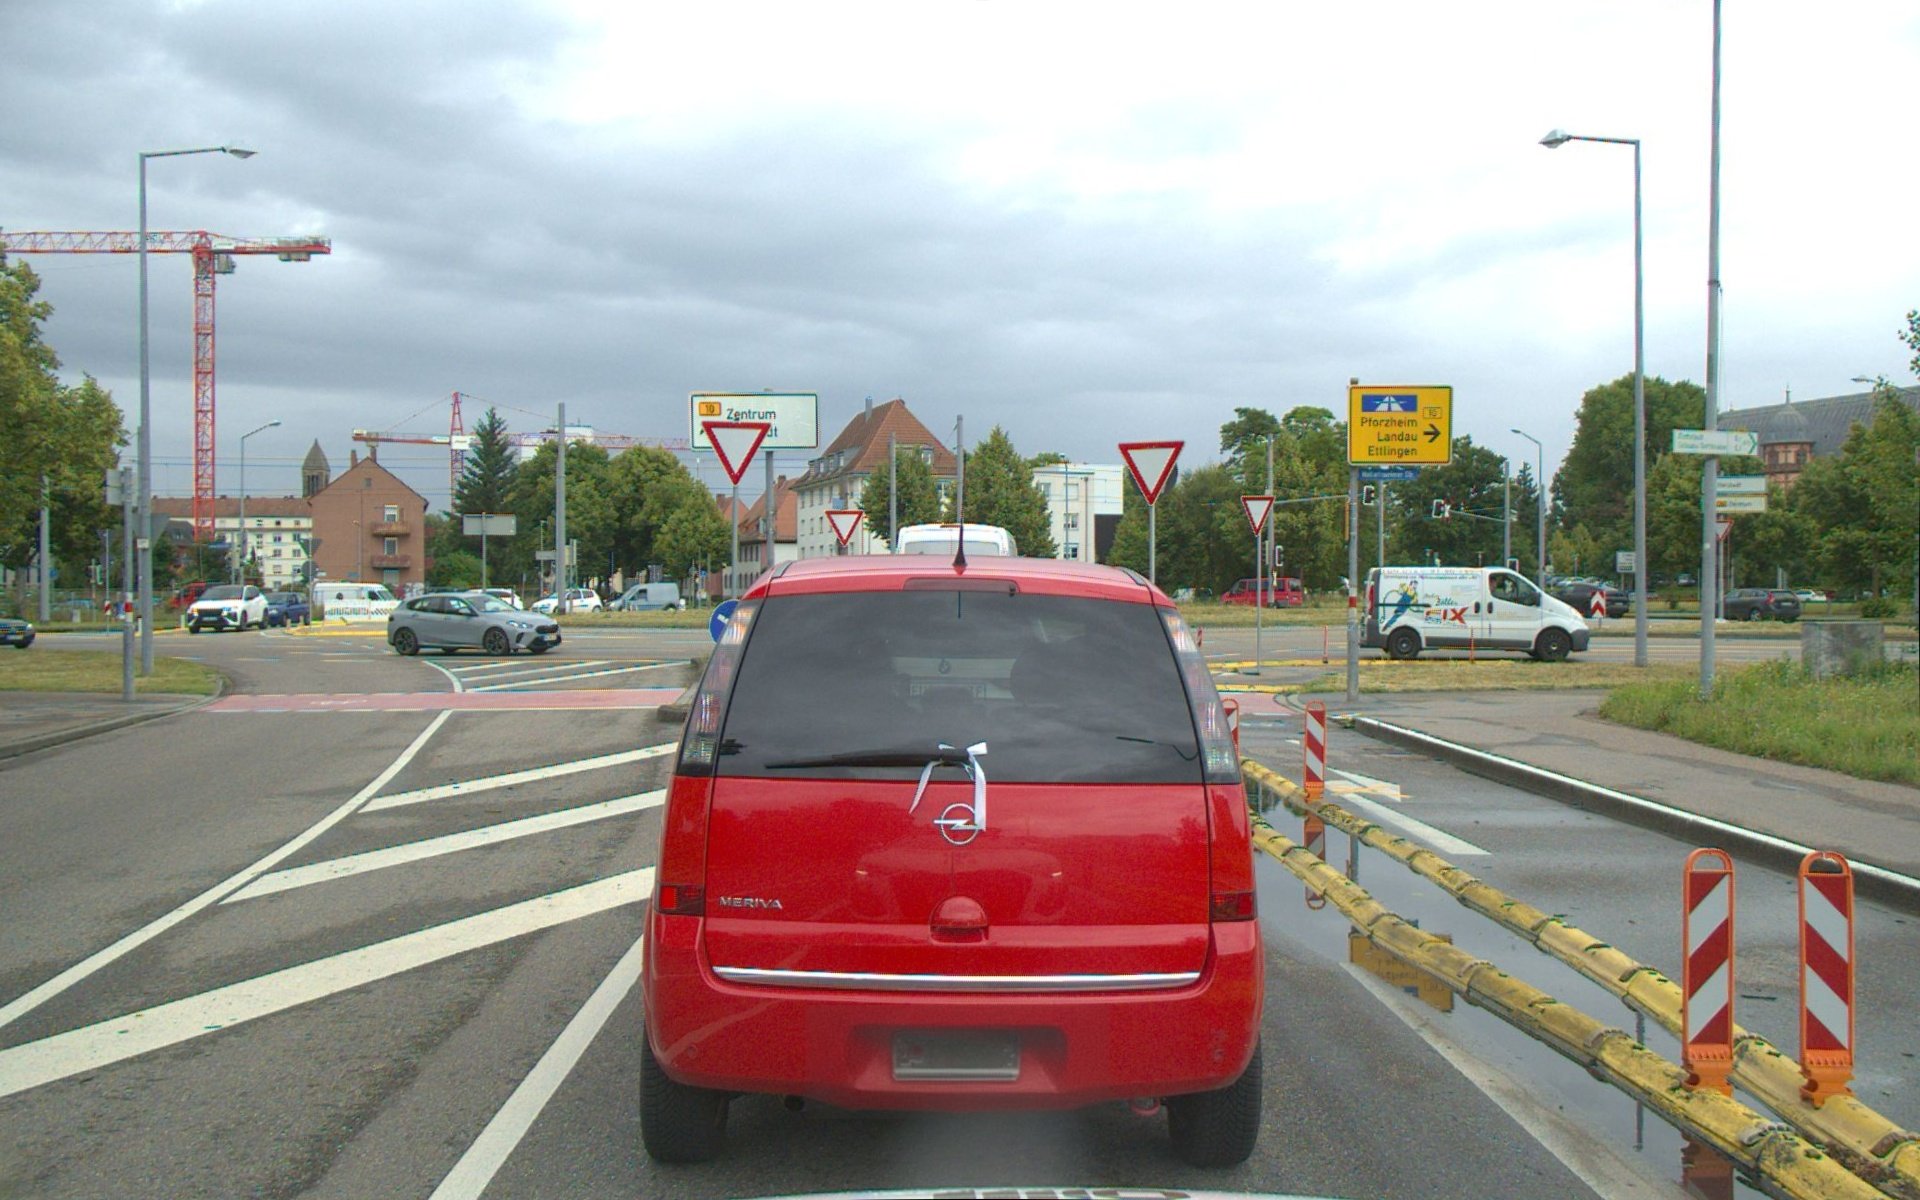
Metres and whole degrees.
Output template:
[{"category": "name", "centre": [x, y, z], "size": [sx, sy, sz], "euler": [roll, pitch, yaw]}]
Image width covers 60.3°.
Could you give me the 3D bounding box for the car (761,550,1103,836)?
[{"category": "car", "centre": [-0.201, 0.538, 12.168], "size": [2.018, 1.676, 4.606], "euler": [1, 0, -1]}]

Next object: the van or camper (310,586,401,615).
[{"category": "van or camper", "centre": [-44.292, 0.061, 121.143], "size": [6.045, 2.049, 2.002], "euler": [0, 0, 10]}]

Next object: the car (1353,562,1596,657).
[{"category": "car", "centre": [10.944, 0.200, 35.544], "size": [4.729, 1.933, 2.101], "euler": [0, 0, 9]}]

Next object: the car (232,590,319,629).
[{"category": "car", "centre": [-27.790, 0.364, 67.278], "size": [1.891, 1.515, 4.000], "euler": [-1, 0, -1]}]

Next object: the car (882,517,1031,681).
[{"category": "car", "centre": [0.053, -0.038, 28.924], "size": [2.149, 2.584, 4.965], "euler": [1, 0, 5]}]

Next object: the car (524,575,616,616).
[{"category": "car", "centre": [-19.987, -0.234, 84.909], "size": [1.959, 2.049, 4.466], "euler": [0, 0, 34]}]

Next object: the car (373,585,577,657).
[{"category": "car", "centre": [-11.601, 0.485, 39.594], "size": [4.336, 1.630, 2.099], "euler": [0, 0, 23]}]

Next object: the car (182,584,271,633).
[{"category": "car", "centre": [-26.829, 0.284, 60.651], "size": [1.895, 1.713, 4.181], "euler": [-1, 0, -9]}]

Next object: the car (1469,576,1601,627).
[{"category": "car", "centre": [23.980, 0.068, 69.071], "size": [1.985, 2.049, 4.860], "euler": [-1, 0, -44]}]

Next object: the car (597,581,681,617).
[{"category": "car", "centre": [-18.742, -0.073, 96.619], "size": [4.419, 2.049, 1.979], "euler": [-1, 0, -31]}]

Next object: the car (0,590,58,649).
[{"category": "car", "centre": [-29.523, 0.582, 50.129], "size": [3.909, 1.713, 1.998], "euler": [0, 0, 27]}]

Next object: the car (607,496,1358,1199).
[{"category": "car", "centre": [0.025, 0.605, 5.471], "size": [1.639, 1.669, 3.626], "euler": [1, 0, -1]}]

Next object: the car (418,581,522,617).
[{"category": "car", "centre": [-23.646, -0.069, 80.004], "size": [1.959, 1.663, 4.660], "euler": [0, 0, 34]}]

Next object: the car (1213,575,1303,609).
[{"category": "car", "centre": [17.414, -0.455, 96.750], "size": [4.792, 1.951, 2.108], "euler": [0, 0, 36]}]

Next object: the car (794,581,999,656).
[{"category": "car", "centre": [-1.400, 0.401, 37.671], "size": [4.331, 1.630, 2.101], "euler": [0, 0, 8]}]
